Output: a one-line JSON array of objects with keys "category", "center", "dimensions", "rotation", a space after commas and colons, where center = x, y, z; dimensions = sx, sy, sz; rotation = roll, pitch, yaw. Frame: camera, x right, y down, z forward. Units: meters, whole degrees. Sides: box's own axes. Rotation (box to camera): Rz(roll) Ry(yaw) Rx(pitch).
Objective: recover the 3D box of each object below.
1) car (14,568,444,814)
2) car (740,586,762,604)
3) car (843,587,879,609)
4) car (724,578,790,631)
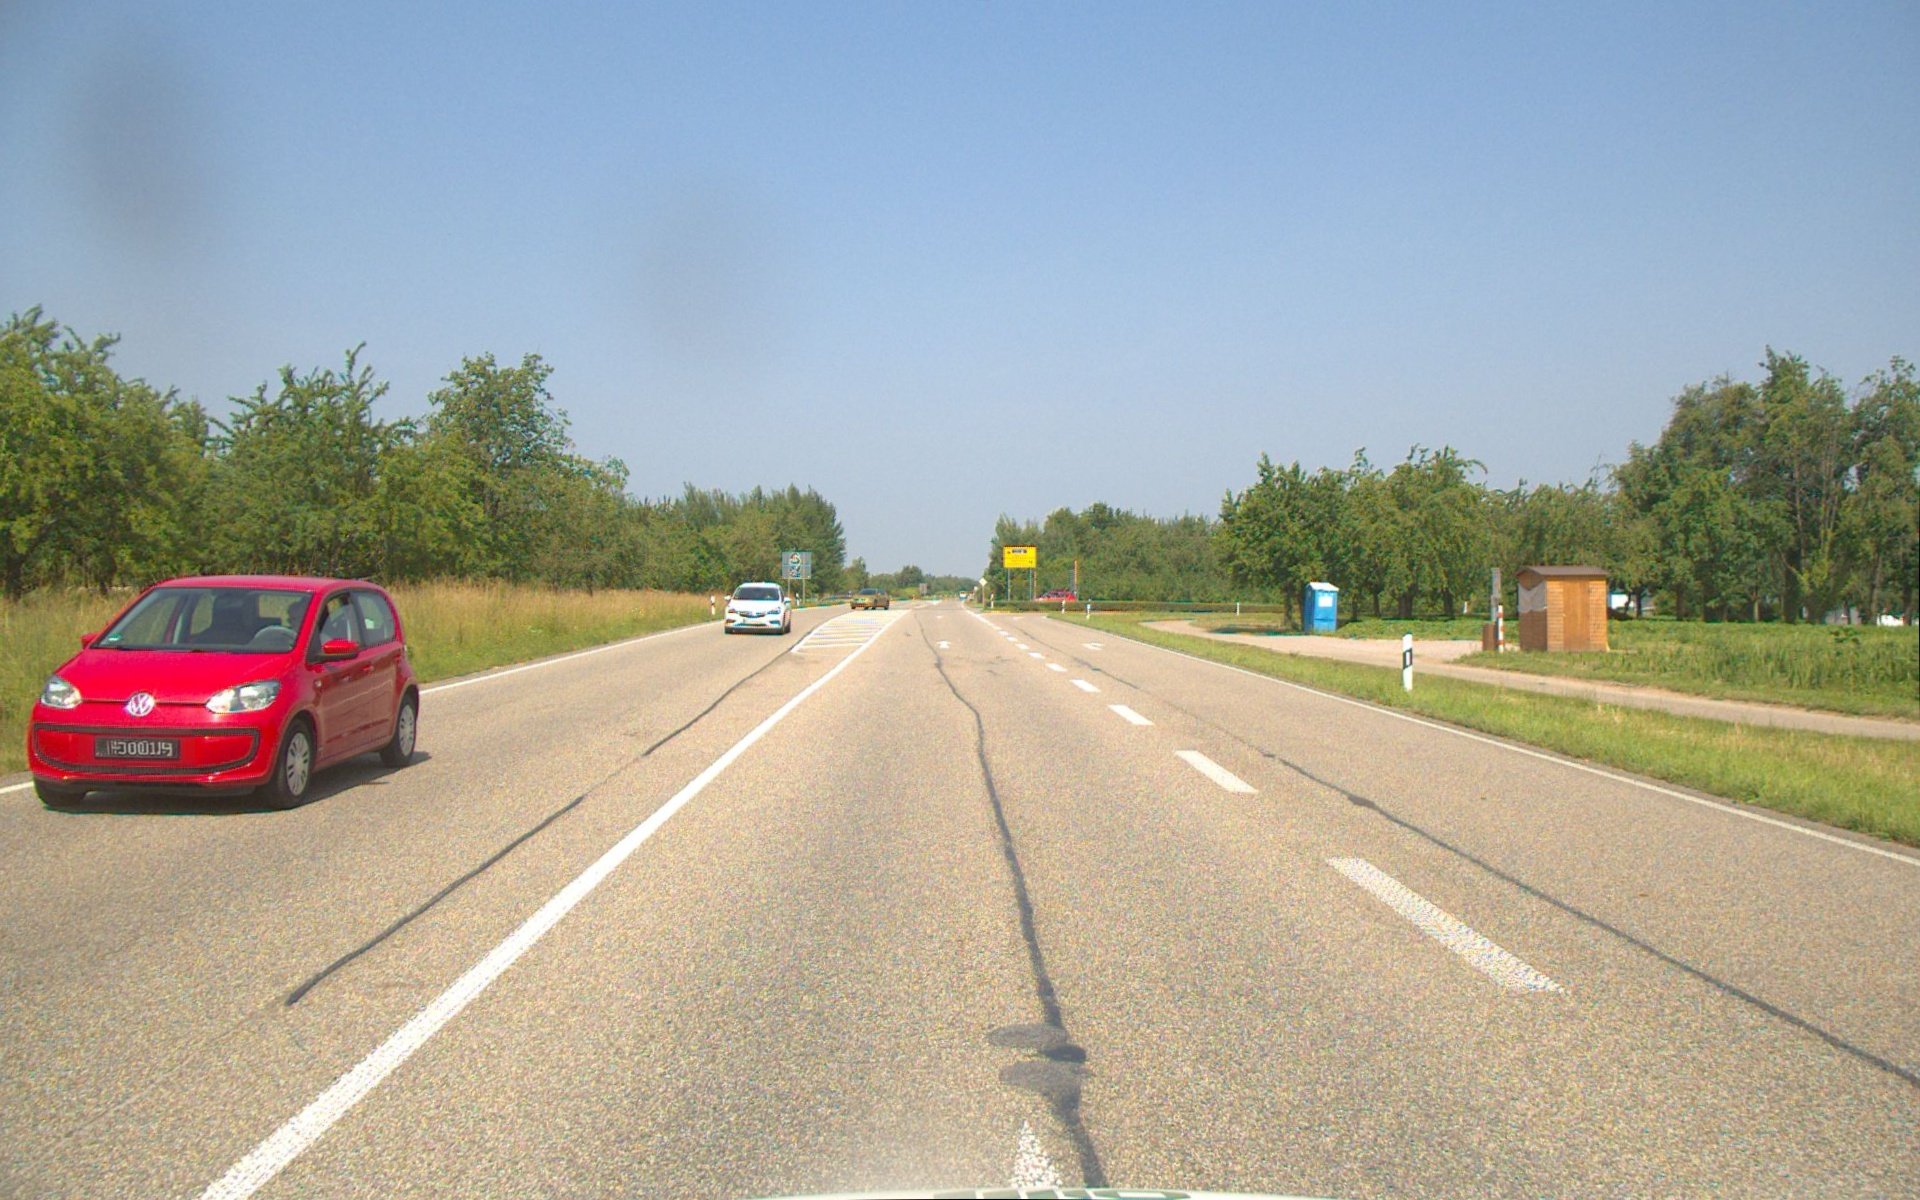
[{"category": "car", "center": [-5.039, 0.545, 11.938], "dimensions": [1.592, 1.482, 3.620], "rotation": [1, 0, -2]}, {"category": "car", "center": [-17.459, -0.406, 138.448], "dimensions": [1.671, 1.448, 4.039], "rotation": [0, 0, -5]}, {"category": "car", "center": [-6.941, -0.149, 115.815], "dimensions": [1.661, 1.441, 3.829], "rotation": [0, 0, 10]}, {"category": "car", "center": [-6.066, 0.105, 49.793], "dimensions": [1.641, 1.520, 4.134], "rotation": [1, 0, -3]}]
